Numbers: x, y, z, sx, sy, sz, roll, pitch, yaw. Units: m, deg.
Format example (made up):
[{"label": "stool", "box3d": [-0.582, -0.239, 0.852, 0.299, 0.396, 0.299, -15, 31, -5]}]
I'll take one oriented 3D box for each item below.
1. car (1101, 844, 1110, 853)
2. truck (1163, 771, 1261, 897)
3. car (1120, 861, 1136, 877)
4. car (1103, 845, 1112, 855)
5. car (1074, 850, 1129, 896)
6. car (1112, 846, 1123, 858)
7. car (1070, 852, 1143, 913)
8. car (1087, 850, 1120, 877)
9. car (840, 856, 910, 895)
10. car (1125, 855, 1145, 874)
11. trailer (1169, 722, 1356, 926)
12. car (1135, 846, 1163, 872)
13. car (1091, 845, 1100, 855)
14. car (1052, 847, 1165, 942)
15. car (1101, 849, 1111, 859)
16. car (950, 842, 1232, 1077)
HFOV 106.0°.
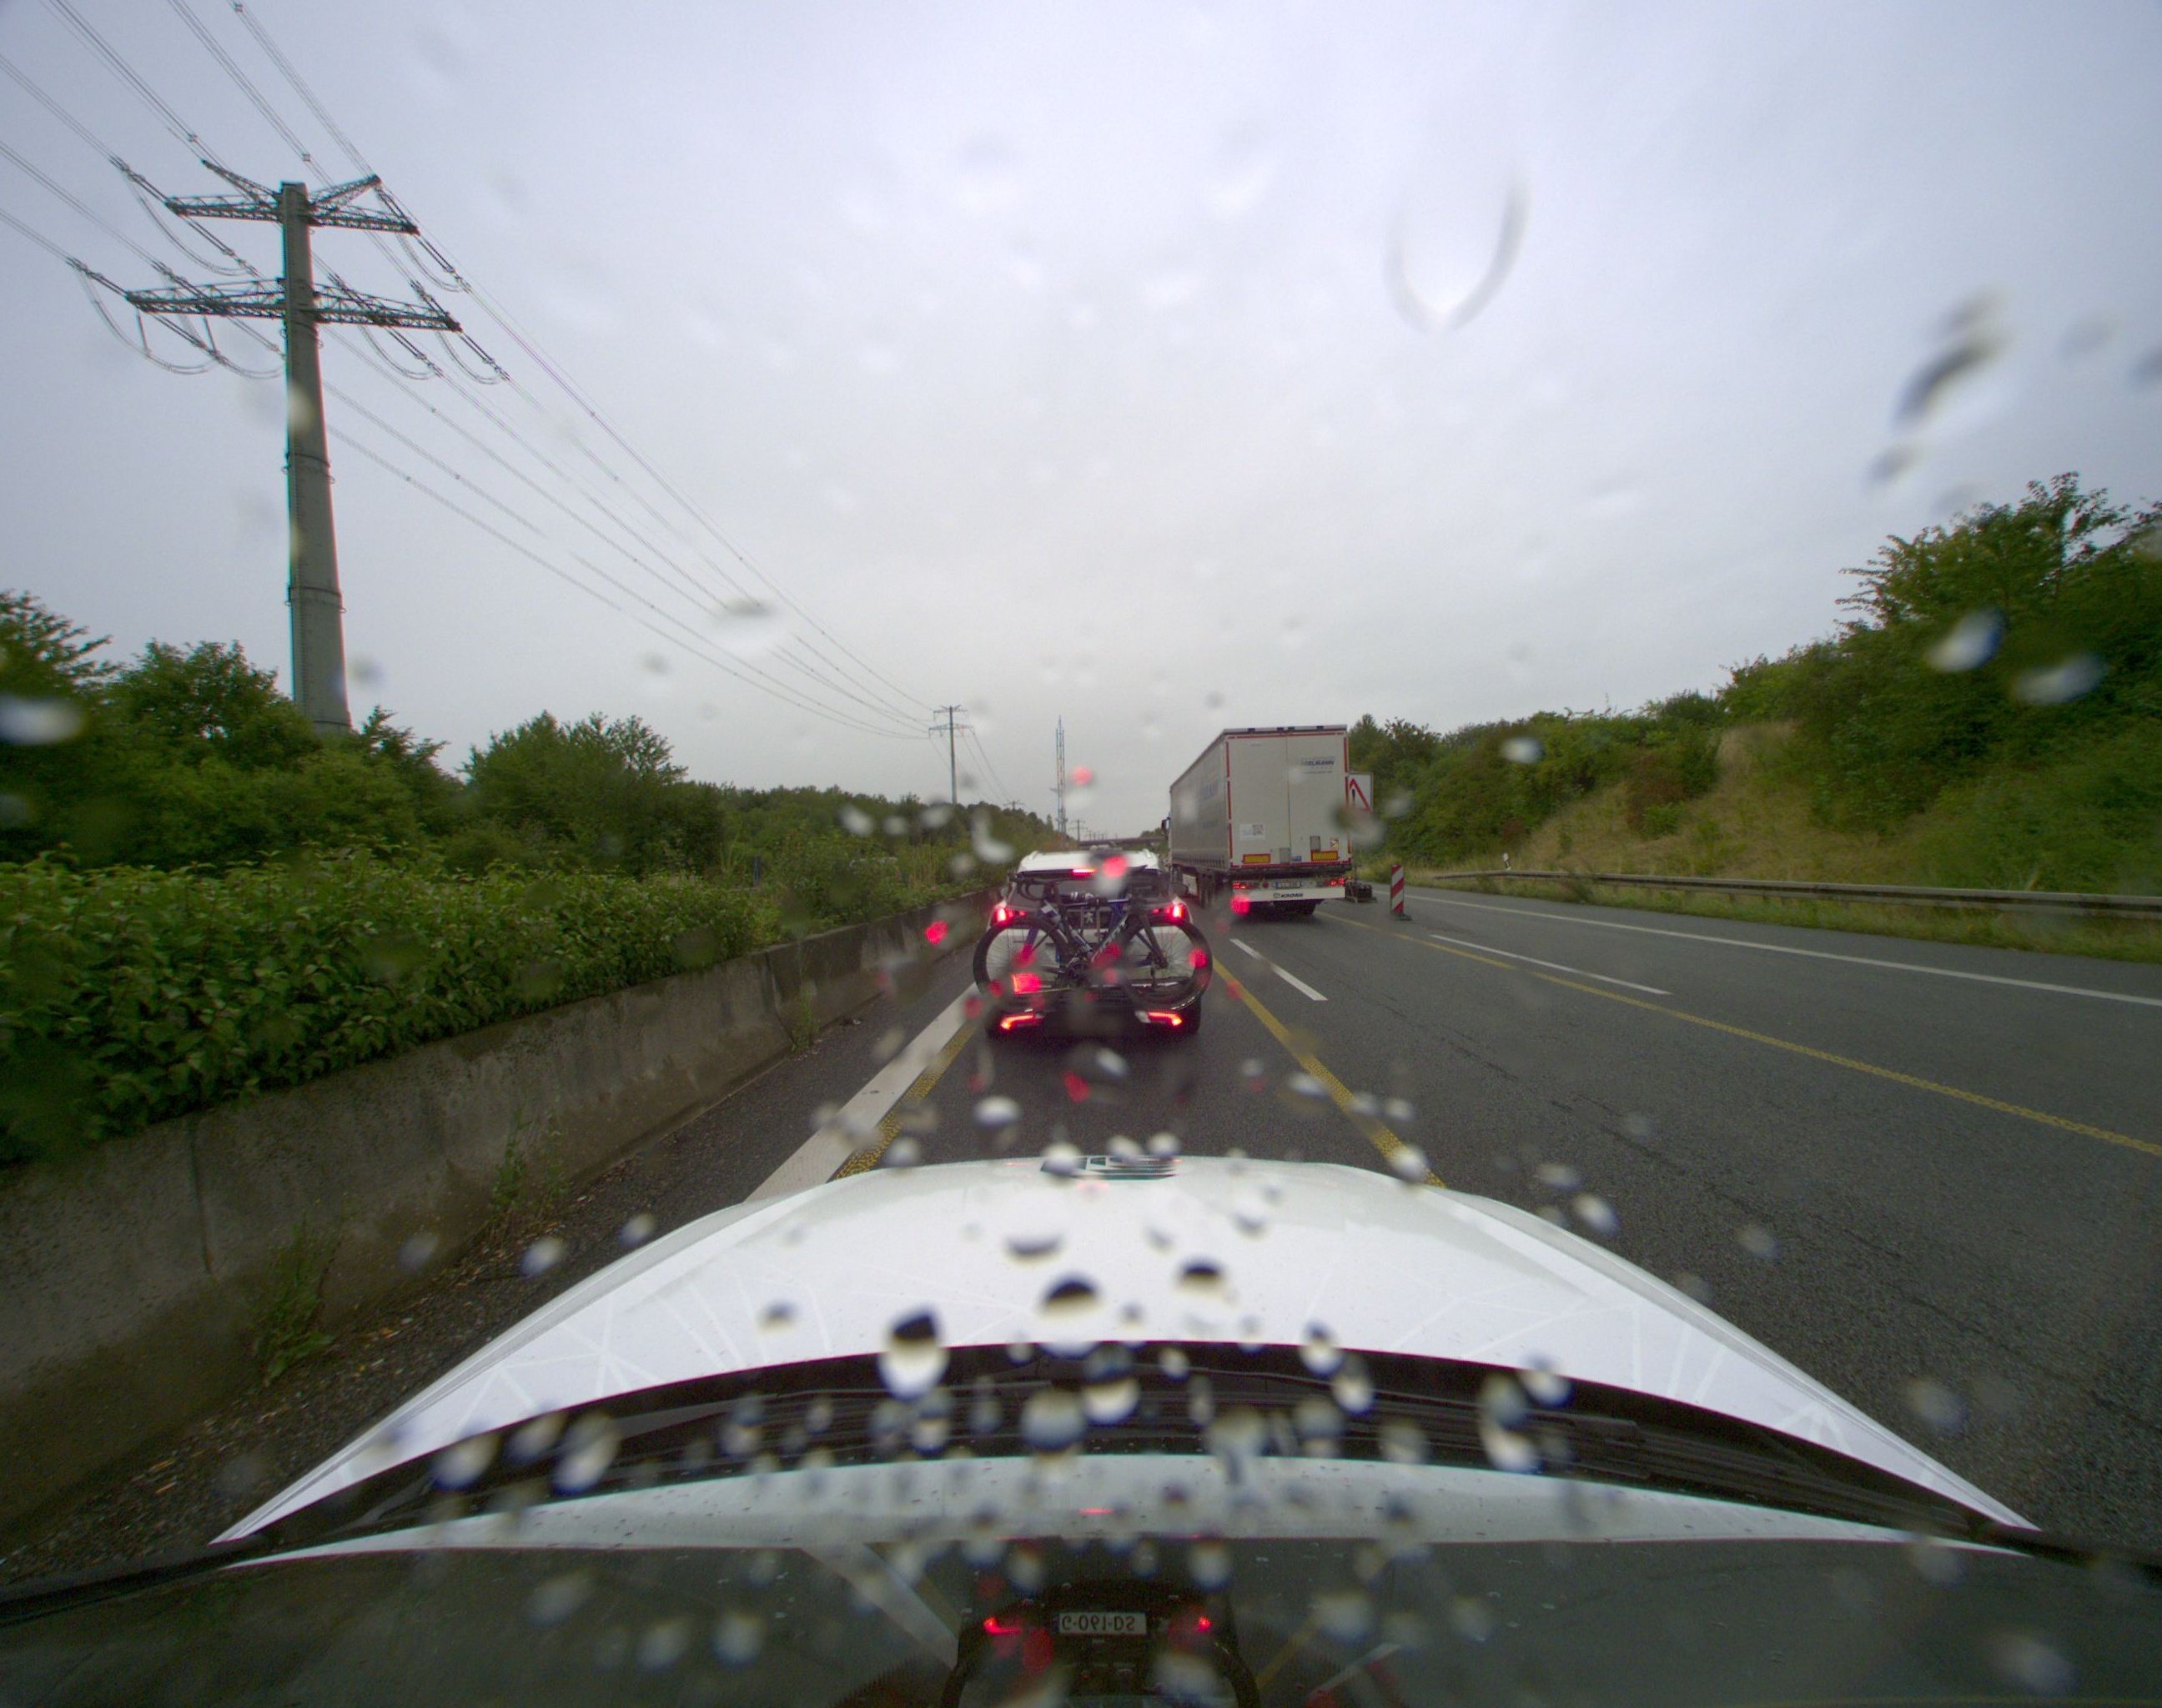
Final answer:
[{"label": "car", "box3d": [5.414, -1.201, 179.398, 1.924, 1.973, 4.002, -1, 1, 2]}, {"label": "truck", "box3d": [4.605, -0.654, 29.873, 2.650, 4.076, 6.542, -1, 0, 2]}, {"label": "car", "box3d": [6.379, 1.997, 110.718, 2.140, 1.973, 4.002, -1, 1, 2]}, {"label": "car", "box3d": [5.442, -0.772, 166.963, 1.924, 1.910, 4.002, -1, 1, 2]}, {"label": "car", "box3d": [0.762, 0.649, 29.747, 1.843, 1.531, 4.002, -1, 0, 2]}, {"label": "car", "box3d": [6.581, -0.318, 146.138, 1.924, 1.973, 4.002, -1, 1, 2]}, {"label": "car", "box3d": [0.723, 0.728, 23.019, 1.843, 1.531, 4.002, -1, 0, 2]}, {"label": "car", "box3d": [1.327, 0.535, 47.831, 1.843, 1.531, 4.002, -1, 0, 2]}, {"label": "car", "box3d": [-10.098, 1.007, 40.284, 1.986, 1.726, 5.061, -1, 0, 2]}, {"label": "car", "box3d": [6.237, 1.191, 94.886, 2.141, 1.973, 4.001, -1, 1, 1]}, {"label": "trailer", "box3d": [4.404, -0.615, 23.324, 2.682, 4.076, 13.639, -1, 0, 2]}, {"label": "car", "box3d": [5.511, 0.415, 66.544, 2.102, 1.973, 4.002, -1, 1, 2]}, {"label": "car", "box3d": [3.804, -0.996, 214.204, 2.249, 2.424, 4.002, -1, 1, 2]}, {"label": "car", "box3d": [0.523, 0.664, 15.463, 1.843, 1.531, 4.002, -1, 0, 2]}, {"label": "car", "box3d": [5.330, -0.017, 174.144, 1.924, 1.973, 4.002, -1, 1, 2]}, {"label": "car", "box3d": [0.142, 0.700, 7.794, 1.843, 1.531, 4.770, -1, 0, 2]}]
